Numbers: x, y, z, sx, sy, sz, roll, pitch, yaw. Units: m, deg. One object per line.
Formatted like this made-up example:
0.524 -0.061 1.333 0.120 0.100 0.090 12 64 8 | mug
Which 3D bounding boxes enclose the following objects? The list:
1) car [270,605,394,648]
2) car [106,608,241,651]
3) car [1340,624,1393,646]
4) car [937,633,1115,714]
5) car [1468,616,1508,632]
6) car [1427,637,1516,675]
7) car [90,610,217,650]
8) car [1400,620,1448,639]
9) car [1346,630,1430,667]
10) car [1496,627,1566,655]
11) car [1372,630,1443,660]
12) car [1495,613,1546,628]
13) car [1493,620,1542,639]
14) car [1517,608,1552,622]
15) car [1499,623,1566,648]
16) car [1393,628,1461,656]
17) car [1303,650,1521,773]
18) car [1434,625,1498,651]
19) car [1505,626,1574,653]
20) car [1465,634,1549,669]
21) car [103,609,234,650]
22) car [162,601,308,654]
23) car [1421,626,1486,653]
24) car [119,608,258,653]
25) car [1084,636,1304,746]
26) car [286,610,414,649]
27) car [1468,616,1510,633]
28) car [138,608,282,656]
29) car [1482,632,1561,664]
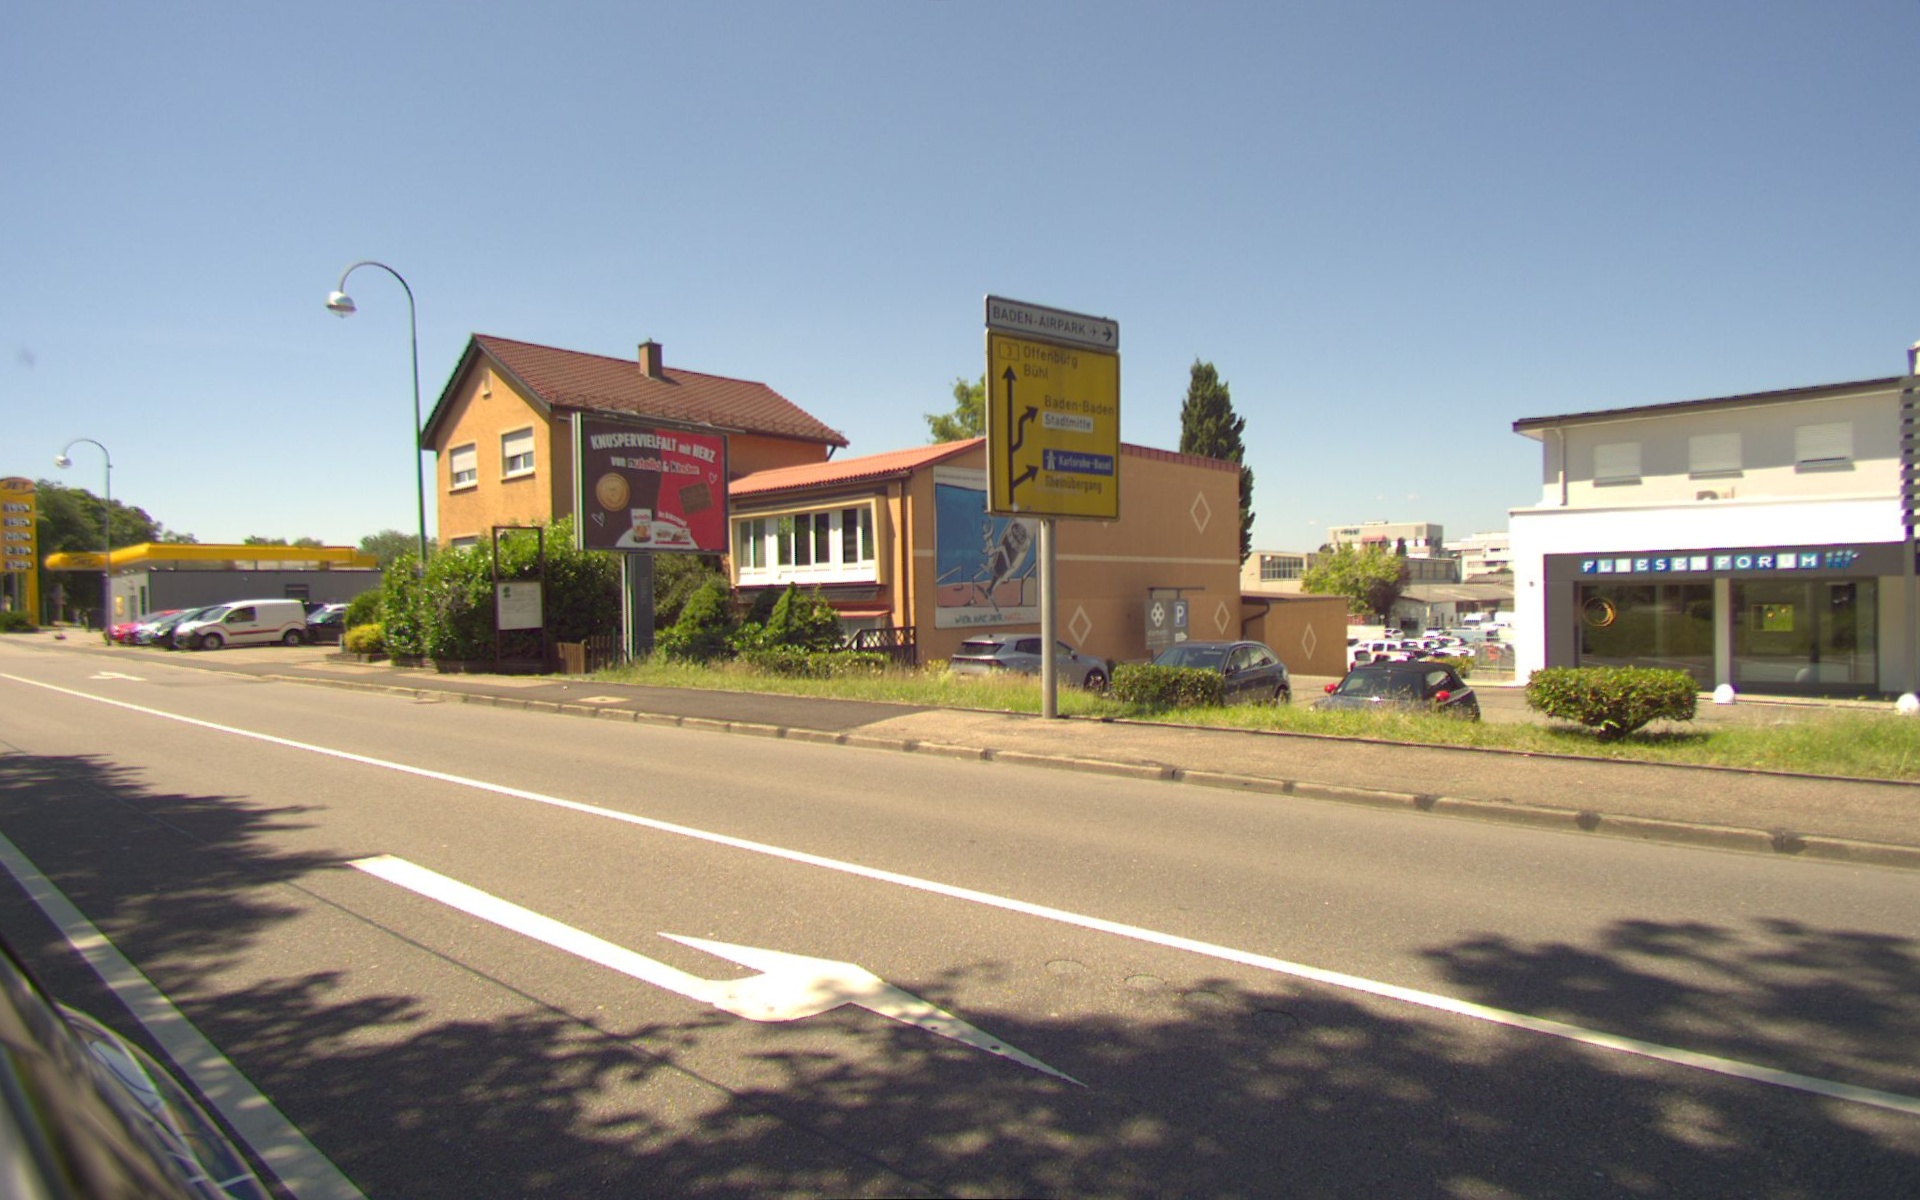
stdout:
-27.835 1.147 44.994 1.871 1.839 4.351 -1 -1 35 | car
-34.476 1.255 44.494 1.871 1.773 4.351 -1 -1 35 | car
33.993 2.942 84.608 3.774 1.768 1.707 -1 -1 44 | car
1.601 1.632 23.659 4.165 1.621 1.773 0 -1 -42 | car
61.512 2.763 117.888 3.774 1.768 1.707 -1 0 44 | car
26.495 2.865 52.485 3.774 1.768 1.707 -1 -1 44 | car
-37.888 1.383 47.619 1.871 1.773 4.351 -1 -1 35 | car
44.695 2.840 97.520 3.774 1.768 1.707 -1 0 44 | car
24.584 2.754 58.189 4.001 2.029 1.971 -1 -1 44 | car
38.075 2.707 67.568 3.774 1.768 1.707 -1 -1 44 | car
28.289 2.834 64.048 3.774 1.768 1.707 -1 -1 44 | car
71.783 2.631 129.633 5.303 1.768 2.037 -1 -1 44 | car
53.081 2.759 96.359 3.774 1.768 1.707 -1 -1 44 | car
77.214 2.029 135.950 3.774 1.768 1.707 -1 -1 44 | car
42.727 2.641 75.591 4.055 1.768 1.707 -1 -1 44 | car
31.097 2.780 67.433 3.774 1.768 1.707 -1 -1 44 | car
7.281 1.654 16.123 4.039 1.544 1.772 0 -1 -44 | car
36.462 2.727 72.954 3.774 1.768 1.707 -1 -1 44 | car
39.822 2.685 69.577 3.774 1.768 1.707 -1 -1 44 | car
30.267 2.821 56.012 3.774 1.768 1.707 -1 -1 44 | car
-35.880 1.312 45.980 1.871 1.773 4.351 -1 -1 35 | car
-27.598 1.018 38.643 1.871 1.883 4.143 -1 -1 35 | car
34.461 2.751 70.746 3.774 1.768 1.707 -1 -1 44 | car
-32.663 1.245 42.969 1.871 1.773 4.351 -1 -1 35 | car
4.370 1.537 18.508 4.462 1.654 1.772 0 -1 -44 | car
-26.150 1.242 43.497 1.871 1.575 4.351 -1 -1 35 | car
58.800 2.723 112.577 3.774 1.768 1.707 -1 0 44 | car
-29.433 1.200 39.841 1.871 1.773 4.198 -1 -1 35 | car
32.964 2.779 59.472 3.774 1.768 1.707 -1 -1 44 | car
